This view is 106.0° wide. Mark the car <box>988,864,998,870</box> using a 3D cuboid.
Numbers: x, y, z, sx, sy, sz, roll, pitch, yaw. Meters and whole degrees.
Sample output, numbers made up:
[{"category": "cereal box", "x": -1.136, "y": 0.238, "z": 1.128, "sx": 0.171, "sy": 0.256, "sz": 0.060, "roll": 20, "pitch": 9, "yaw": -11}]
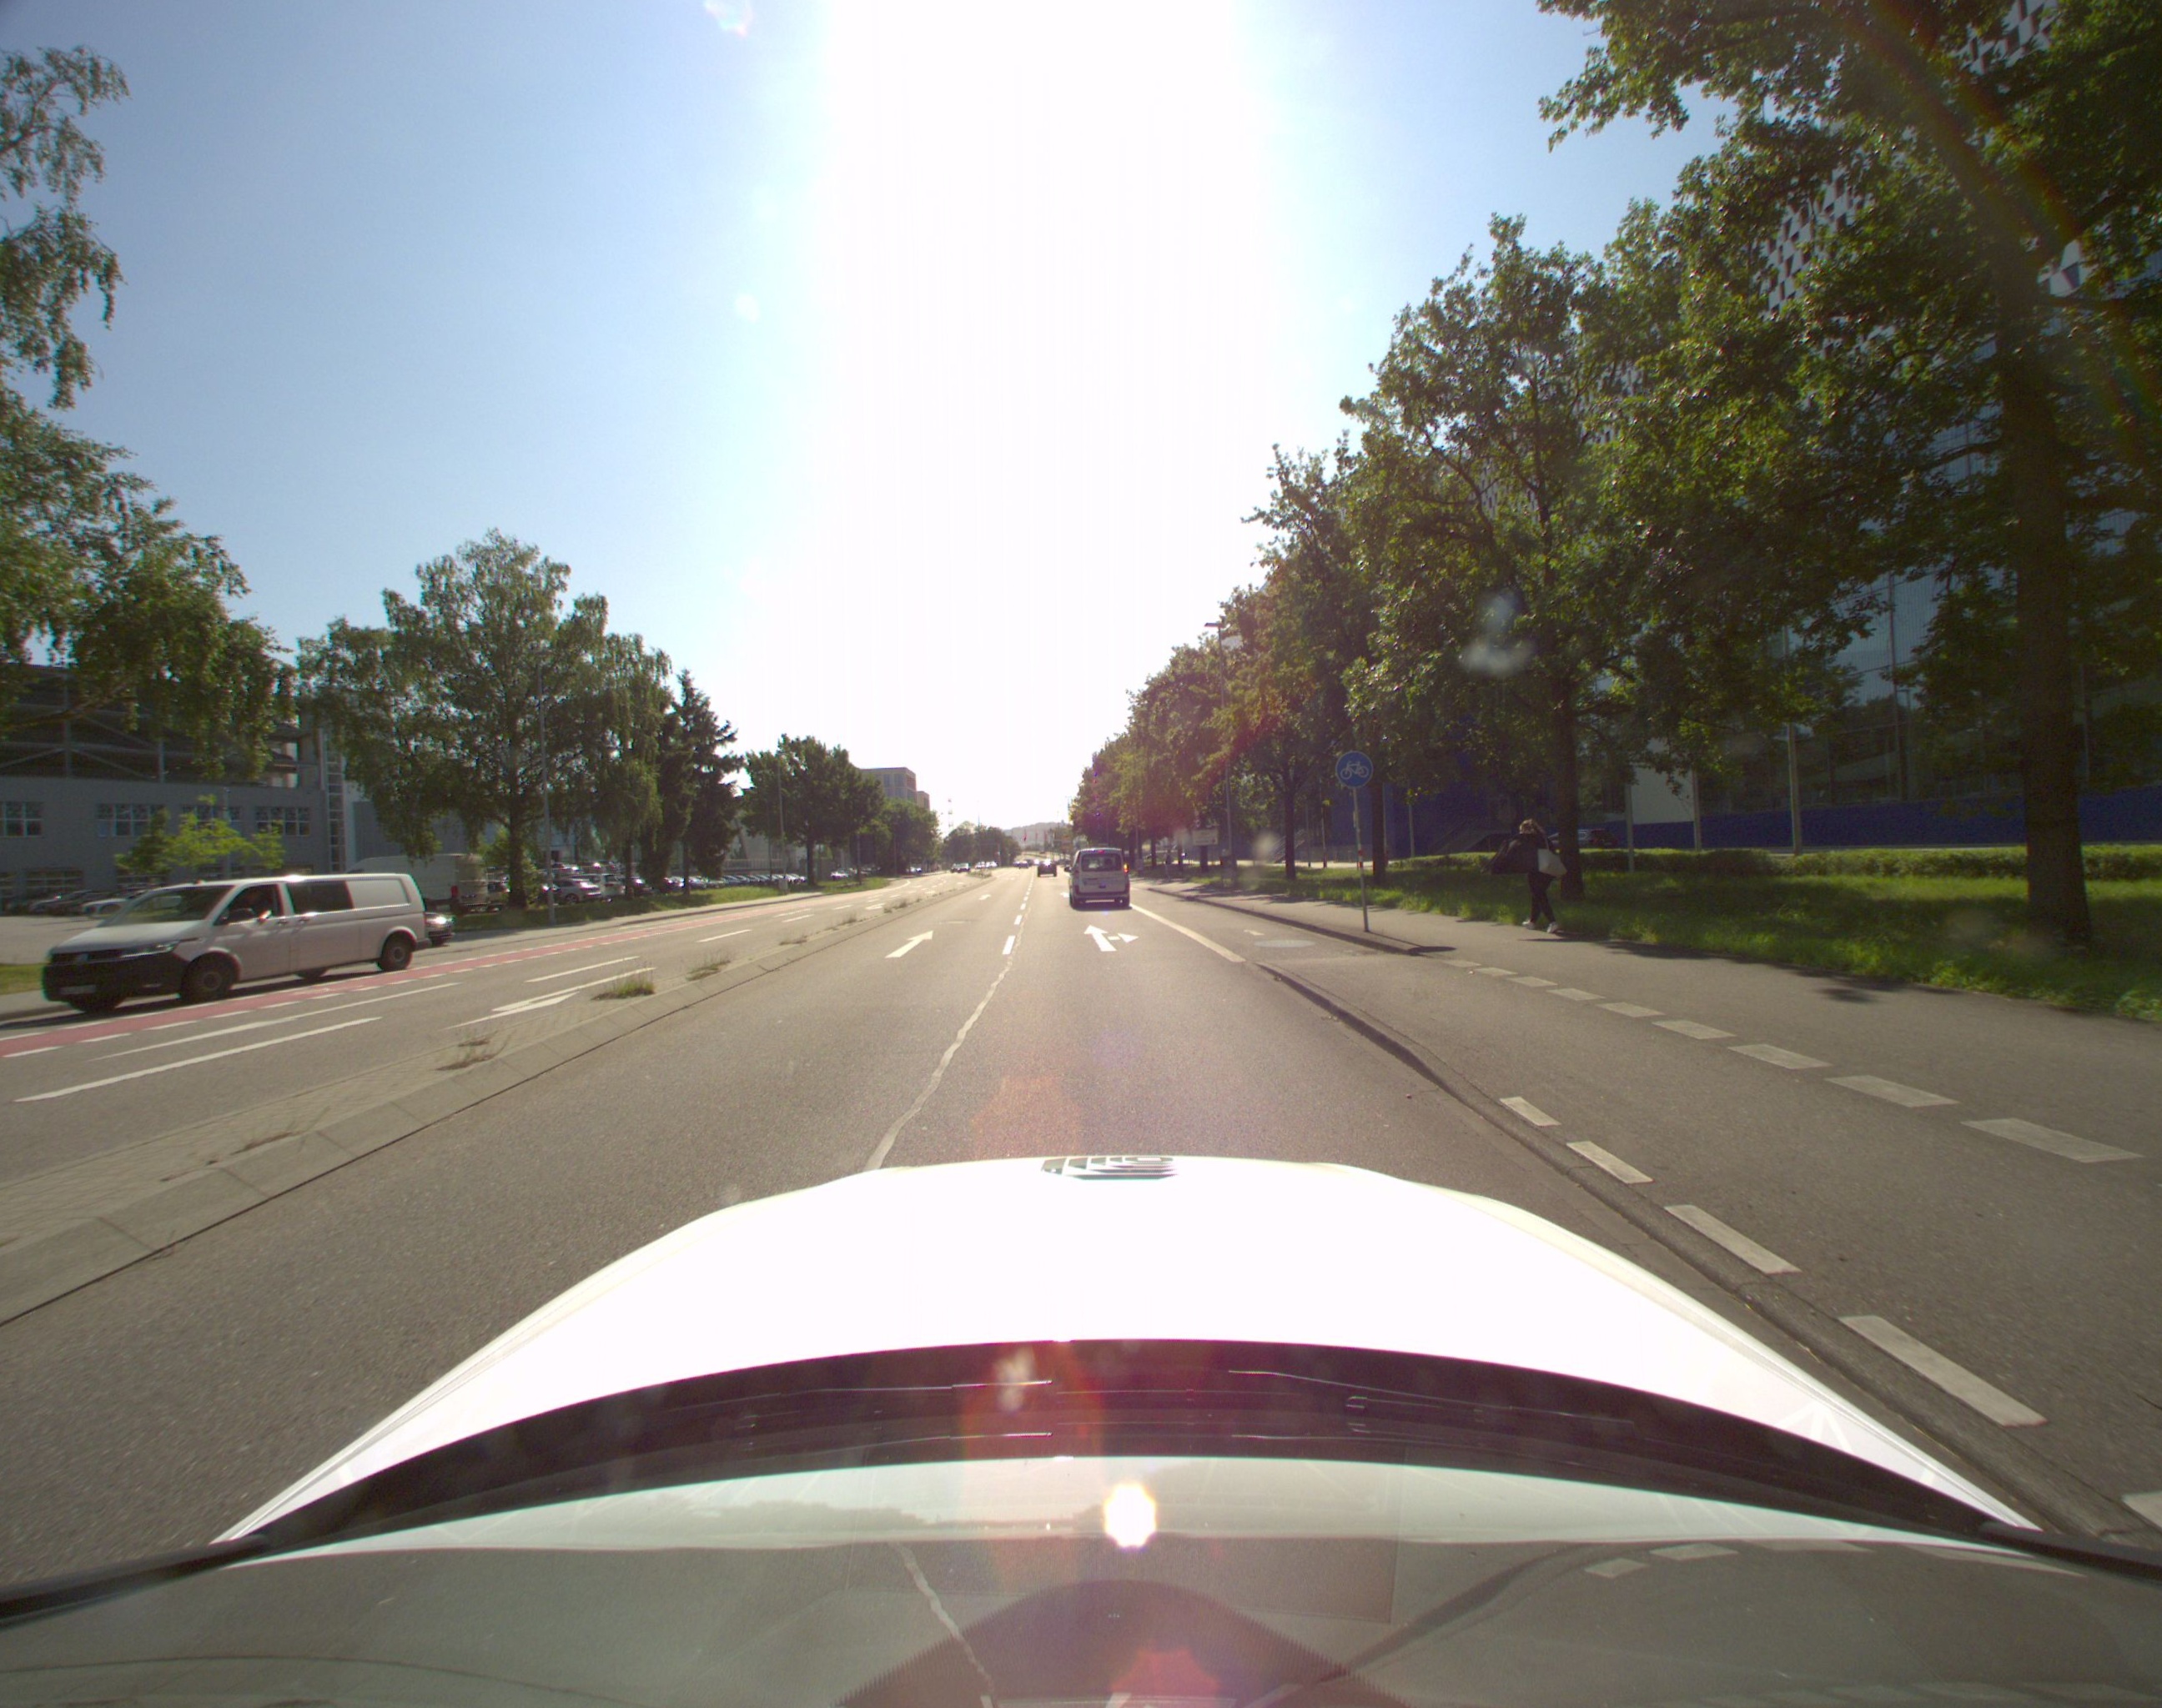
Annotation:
[{"category": "car", "x": -21.472, "y": 3.112, "z": 197.900, "sx": 1.809, "sy": 1.464, "sz": 4.001, "roll": -3, "pitch": 0, "yaw": 2}]

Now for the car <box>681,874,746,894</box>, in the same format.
[{"category": "car", "x": -29.550, "y": 2.389, "z": 65.571, "sx": 4.253, "sy": 1.350, "sz": 1.953, "roll": -3, "pitch": 0, "yaw": -1}]

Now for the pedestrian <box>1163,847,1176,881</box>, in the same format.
[{"category": "pedestrian", "x": 4.873, "y": 0.539, "z": 45.035, "sx": 0.534, "sy": 1.841, "sz": 0.727, "roll": -3, "pitch": -1, "yaw": -3}]

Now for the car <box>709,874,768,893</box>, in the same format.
[{"category": "car", "x": -29.764, "y": 2.529, "z": 70.802, "sx": 4.253, "sy": 1.350, "sz": 1.953, "roll": -3, "pitch": 0, "yaw": -1}]

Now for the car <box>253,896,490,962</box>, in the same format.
[{"category": "car", "x": -19.642, "y": 2.049, "z": 22.739, "sx": 4.656, "sy": 1.413, "sz": 1.998, "roll": -3, "pitch": 0, "yaw": -4}]

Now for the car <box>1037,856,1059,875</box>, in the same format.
[{"category": "car", "x": -3.178, "y": 1.108, "z": 79.562, "sx": 1.801, "sy": 1.640, "sz": 4.459, "roll": -3, "pitch": 0, "yaw": 0}]

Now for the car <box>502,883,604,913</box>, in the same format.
[{"category": "car", "x": -27.213, "y": 2.254, "z": 42.065, "sx": 4.075, "sy": 1.293, "sz": 1.743, "roll": -3, "pitch": 0, "yaw": -1}]

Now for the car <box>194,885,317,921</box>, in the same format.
[{"category": "car", "x": -39.048, "y": 2.300, "z": 38.567, "sx": 4.071, "sy": 1.354, "sz": 1.745, "roll": -3, "pitch": 0, "yaw": 2}]

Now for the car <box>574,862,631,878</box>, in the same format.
[{"category": "car", "x": -46.474, "y": 1.538, "z": 79.139, "sx": 4.255, "sy": 1.350, "sz": 1.952, "roll": -3, "pitch": 0, "yaw": -2}]

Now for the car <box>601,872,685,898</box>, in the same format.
[{"category": "car", "x": -28.383, "y": 2.004, "z": 52.868, "sx": 4.253, "sy": 1.381, "sz": 1.953, "roll": -3, "pitch": 0, "yaw": -1}]

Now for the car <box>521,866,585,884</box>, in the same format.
[{"category": "car", "x": -46.267, "y": 1.809, "z": 71.402, "sx": 4.255, "sy": 1.350, "sz": 1.952, "roll": -3, "pitch": 0, "yaw": -2}]

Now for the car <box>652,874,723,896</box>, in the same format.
[{"category": "car", "x": -29.143, "y": 2.282, "z": 60.388, "sx": 4.253, "sy": 1.350, "sz": 1.953, "roll": -3, "pitch": 0, "yaw": -1}]

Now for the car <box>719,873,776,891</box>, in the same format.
[{"category": "car", "x": -30.119, "y": 2.542, "z": 73.681, "sx": 4.253, "sy": 1.350, "sz": 1.953, "roll": -3, "pitch": 0, "yaw": -1}]

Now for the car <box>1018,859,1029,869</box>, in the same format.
[{"category": "car", "x": -11.072, "y": 1.949, "z": 156.683, "sx": 1.989, "sy": 1.684, "sz": 3.997, "roll": -3, "pitch": 0, "yaw": -2}]

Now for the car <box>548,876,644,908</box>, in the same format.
[{"category": "car", "x": -27.855, "y": 2.161, "z": 46.862, "sx": 4.253, "sy": 1.504, "sz": 1.953, "roll": -3, "pitch": 0, "yaw": -1}]

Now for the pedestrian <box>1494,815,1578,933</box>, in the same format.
[{"category": "pedestrian", "x": 6.524, "y": 0.280, "z": 11.715, "sx": 0.645, "sy": 1.603, "sz": 0.846, "roll": -3, "pitch": 0, "yaw": -2}]

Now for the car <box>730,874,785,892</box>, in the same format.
[{"category": "car", "x": -30.234, "y": 2.708, "z": 76.253, "sx": 4.253, "sy": 1.350, "sz": 1.953, "roll": -3, "pitch": 0, "yaw": -1}]

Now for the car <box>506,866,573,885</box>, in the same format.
[{"category": "car", "x": -45.676, "y": 1.837, "z": 68.773, "sx": 4.255, "sy": 1.350, "sz": 1.952, "roll": -3, "pitch": 0, "yaw": -2}]

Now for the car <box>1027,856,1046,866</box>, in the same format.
[{"category": "car", "x": -9.910, "y": 1.499, "z": 181.598, "sx": 3.997, "sy": 2.013, "sz": 1.988, "roll": -1, "pitch": 1, "yaw": -17}]

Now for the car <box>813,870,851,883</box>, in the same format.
[{"category": "car", "x": -30.942, "y": 2.782, "z": 101.123, "sx": 4.033, "sy": 1.376, "sz": 2.023, "roll": -3, "pitch": 0, "yaw": -3}]

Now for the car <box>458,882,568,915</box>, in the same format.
[{"category": "car", "x": -27.374, "y": 2.141, "z": 39.348, "sx": 4.071, "sy": 1.354, "sz": 1.745, "roll": -3, "pitch": -1, "yaw": 2}]

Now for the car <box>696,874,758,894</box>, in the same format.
[{"category": "car", "x": -29.630, "y": 2.486, "z": 68.253, "sx": 4.253, "sy": 1.350, "sz": 1.953, "roll": -3, "pitch": 0, "yaw": -1}]

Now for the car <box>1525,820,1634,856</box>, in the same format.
[{"category": "car", "x": 24.804, "y": -0.773, "z": 40.702, "sx": 1.912, "sy": 1.520, "sz": 4.345, "roll": -3, "pitch": 0, "yaw": -20}]

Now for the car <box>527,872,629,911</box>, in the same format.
[{"category": "car", "x": -27.497, "y": 2.026, "z": 44.582, "sx": 4.253, "sy": 1.884, "sz": 1.953, "roll": -3, "pitch": 0, "yaw": -1}]

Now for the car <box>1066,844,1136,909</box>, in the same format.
[{"category": "car", "x": 0.550, "y": 0.690, "z": 26.295, "sx": 1.901, "sy": 1.829, "sz": 4.176, "roll": -3, "pitch": 0, "yaw": -3}]

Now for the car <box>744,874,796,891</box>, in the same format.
[{"category": "car", "x": -30.031, "y": 2.728, "z": 78.727, "sx": 4.253, "sy": 1.350, "sz": 1.953, "roll": -3, "pitch": 0, "yaw": -1}]

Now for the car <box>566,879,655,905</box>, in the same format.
[{"category": "car", "x": -28.825, "y": 2.307, "z": 49.956, "sx": 4.253, "sy": 1.328, "sz": 1.953, "roll": -3, "pitch": 0, "yaw": -1}]

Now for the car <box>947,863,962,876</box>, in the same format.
[{"category": "car", "x": -21.671, "y": 2.630, "z": 139.139, "sx": 1.988, "sy": 2.013, "sz": 3.998, "roll": -1, "pitch": 1, "yaw": -1}]

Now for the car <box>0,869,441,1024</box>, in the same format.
[{"category": "car", "x": -14.518, "y": 1.380, "z": 14.383, "sx": 1.986, "sy": 2.013, "sz": 5.349, "roll": -3, "pitch": 0, "yaw": 2}]

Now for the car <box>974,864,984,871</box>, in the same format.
[{"category": "car", "x": -24.578, "y": 3.173, "z": 196.533, "sx": 1.885, "sy": 1.464, "sz": 4.001, "roll": -3, "pitch": 0, "yaw": 2}]

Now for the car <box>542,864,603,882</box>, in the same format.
[{"category": "car", "x": -46.156, "y": 1.716, "z": 73.986, "sx": 4.255, "sy": 1.350, "sz": 1.952, "roll": -3, "pitch": 0, "yaw": -2}]

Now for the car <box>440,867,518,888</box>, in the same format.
[{"category": "car", "x": -45.190, "y": 1.743, "z": 61.182, "sx": 4.255, "sy": 1.350, "sz": 1.952, "roll": -3, "pitch": 0, "yaw": -2}]

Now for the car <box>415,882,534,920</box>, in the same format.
[{"category": "car", "x": -27.463, "y": 2.107, "z": 36.973, "sx": 4.071, "sy": 1.438, "sz": 1.745, "roll": -3, "pitch": 0, "yaw": 2}]

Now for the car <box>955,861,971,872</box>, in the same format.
[{"category": "car", "x": -18.378, "y": 1.914, "z": 127.313, "sx": 1.837, "sy": 1.463, "sz": 4.995, "roll": -5, "pitch": 0, "yaw": -3}]

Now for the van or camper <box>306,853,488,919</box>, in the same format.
[{"category": "van or camper", "x": -27.377, "y": 1.235, "z": 32.769, "sx": 5.370, "sy": 2.470, "sz": 1.997, "roll": -1, "pitch": 1, "yaw": -5}]

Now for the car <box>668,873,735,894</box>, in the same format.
[{"category": "car", "x": -29.392, "y": 2.290, "z": 63.164, "sx": 4.253, "sy": 1.350, "sz": 1.953, "roll": -3, "pitch": 0, "yaw": -1}]
